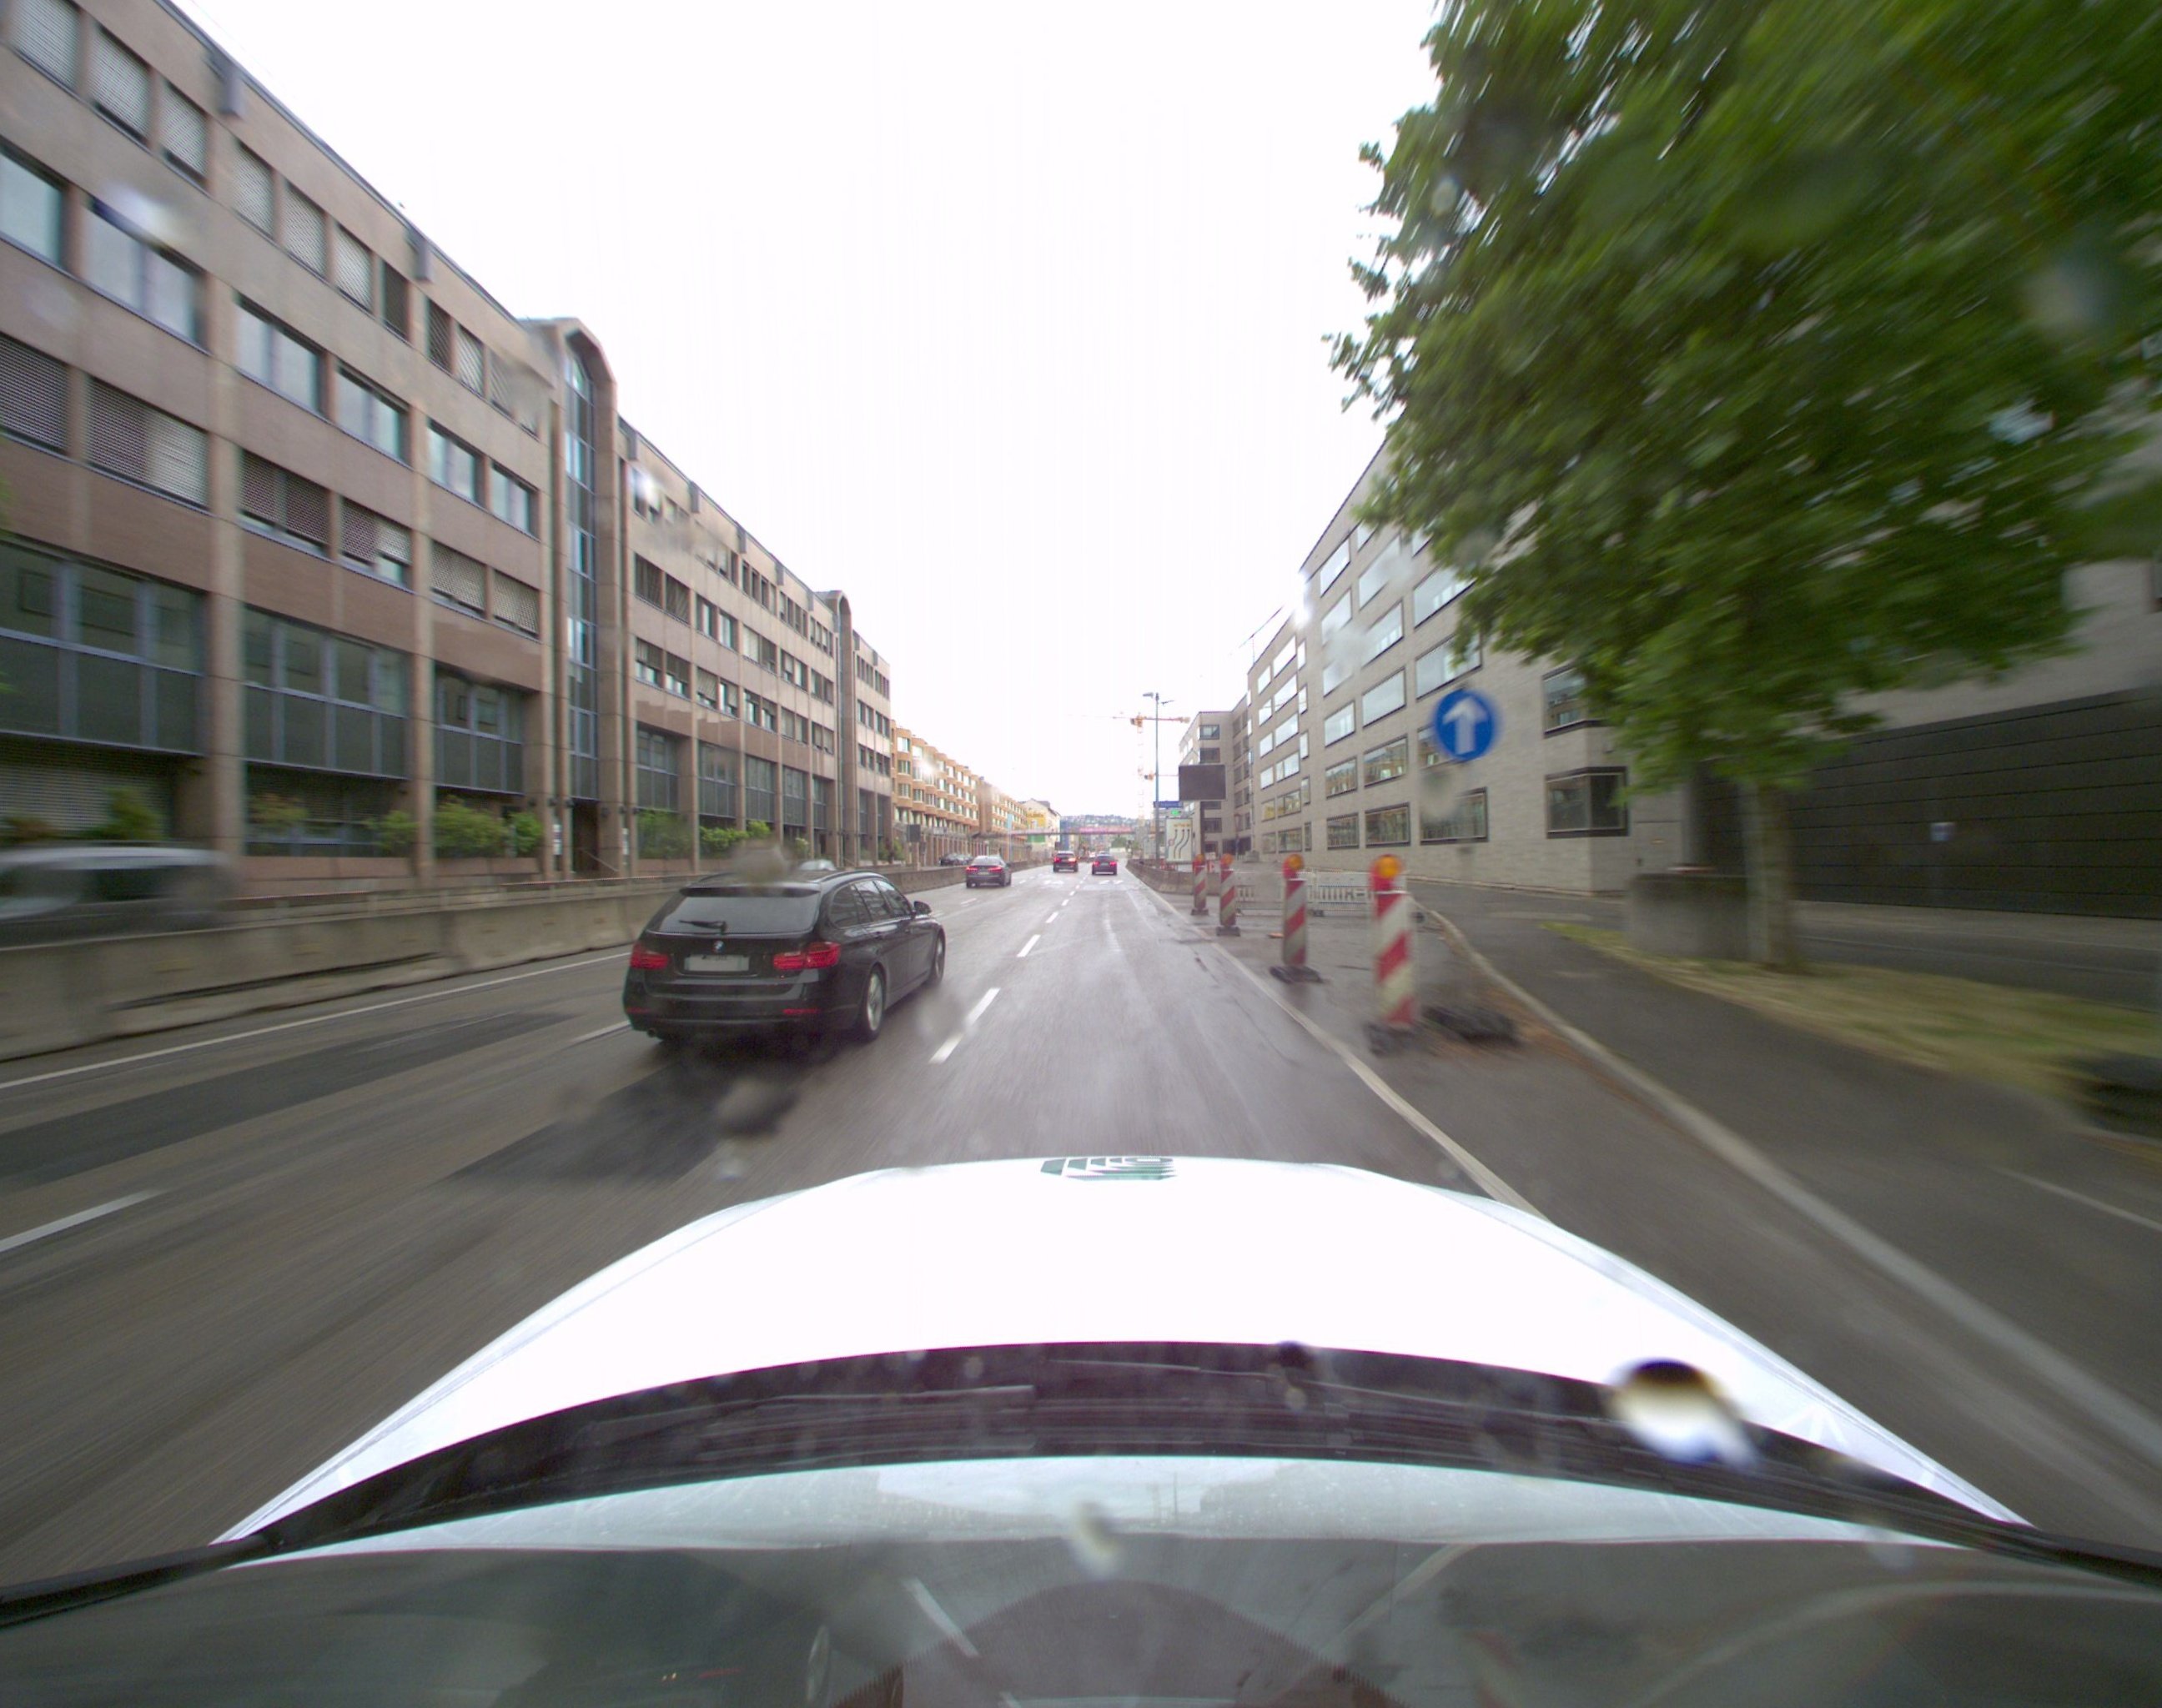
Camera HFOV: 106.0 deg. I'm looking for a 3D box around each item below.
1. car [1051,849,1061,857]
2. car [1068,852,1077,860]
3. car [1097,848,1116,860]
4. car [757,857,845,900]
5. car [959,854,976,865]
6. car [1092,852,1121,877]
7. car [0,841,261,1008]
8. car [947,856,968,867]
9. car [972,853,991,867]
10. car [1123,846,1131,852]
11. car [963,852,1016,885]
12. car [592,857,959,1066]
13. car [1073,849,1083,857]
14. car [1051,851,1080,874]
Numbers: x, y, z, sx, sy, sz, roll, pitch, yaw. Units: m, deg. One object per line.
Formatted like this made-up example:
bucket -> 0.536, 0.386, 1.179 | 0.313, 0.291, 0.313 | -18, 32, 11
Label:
car -> -5.799, -0.228, 189.275 | 1.985, 1.620, 4.767 | -2, 0, 3
car -> -2.044, 0.456, 205.848 | 1.985, 2.013, 4.003 | -2, 0, 3
car -> 3.914, 0.040, 123.311 | 1.885, 1.693, 4.018 | -2, 0, 17
car -> -10.819, 0.902, 31.781 | 1.854, 1.533, 4.231 | -2, 0, 1
car -> -18.008, 0.825, 129.596 | 1.986, 1.620, 4.320 | -2, 0, 2
car -> 1.867, 0.757, 58.552 | 1.892, 1.693, 4.004 | -2, 0, 4
car -> -12.344, 0.776, 9.110 | 1.714, 1.770, 4.427 | -2, 0, 2
car -> -17.722, 1.058, 117.206 | 1.986, 1.620, 4.765 | -2, 0, 2
car -> -11.166, 0.687, 91.465 | 1.596, 1.442, 3.659 | -2, 1, 2
car -> 12.343, -1.288, 219.869 | 1.891, 1.693, 4.005 | -2, 0, 5
car -> -4.340, 0.674, 39.163 | 1.783, 1.426, 4.388 | -2, 0, 3
car -> -2.513, 0.768, 8.073 | 1.785, 1.426, 4.614 | 0, 0, 1
car -> -0.574, -0.135, 175.750 | 1.987, 1.620, 4.763 | -2, 0, 1
car -> -1.204, 0.666, 65.640 | 1.891, 1.693, 4.005 | -2, 0, 5
